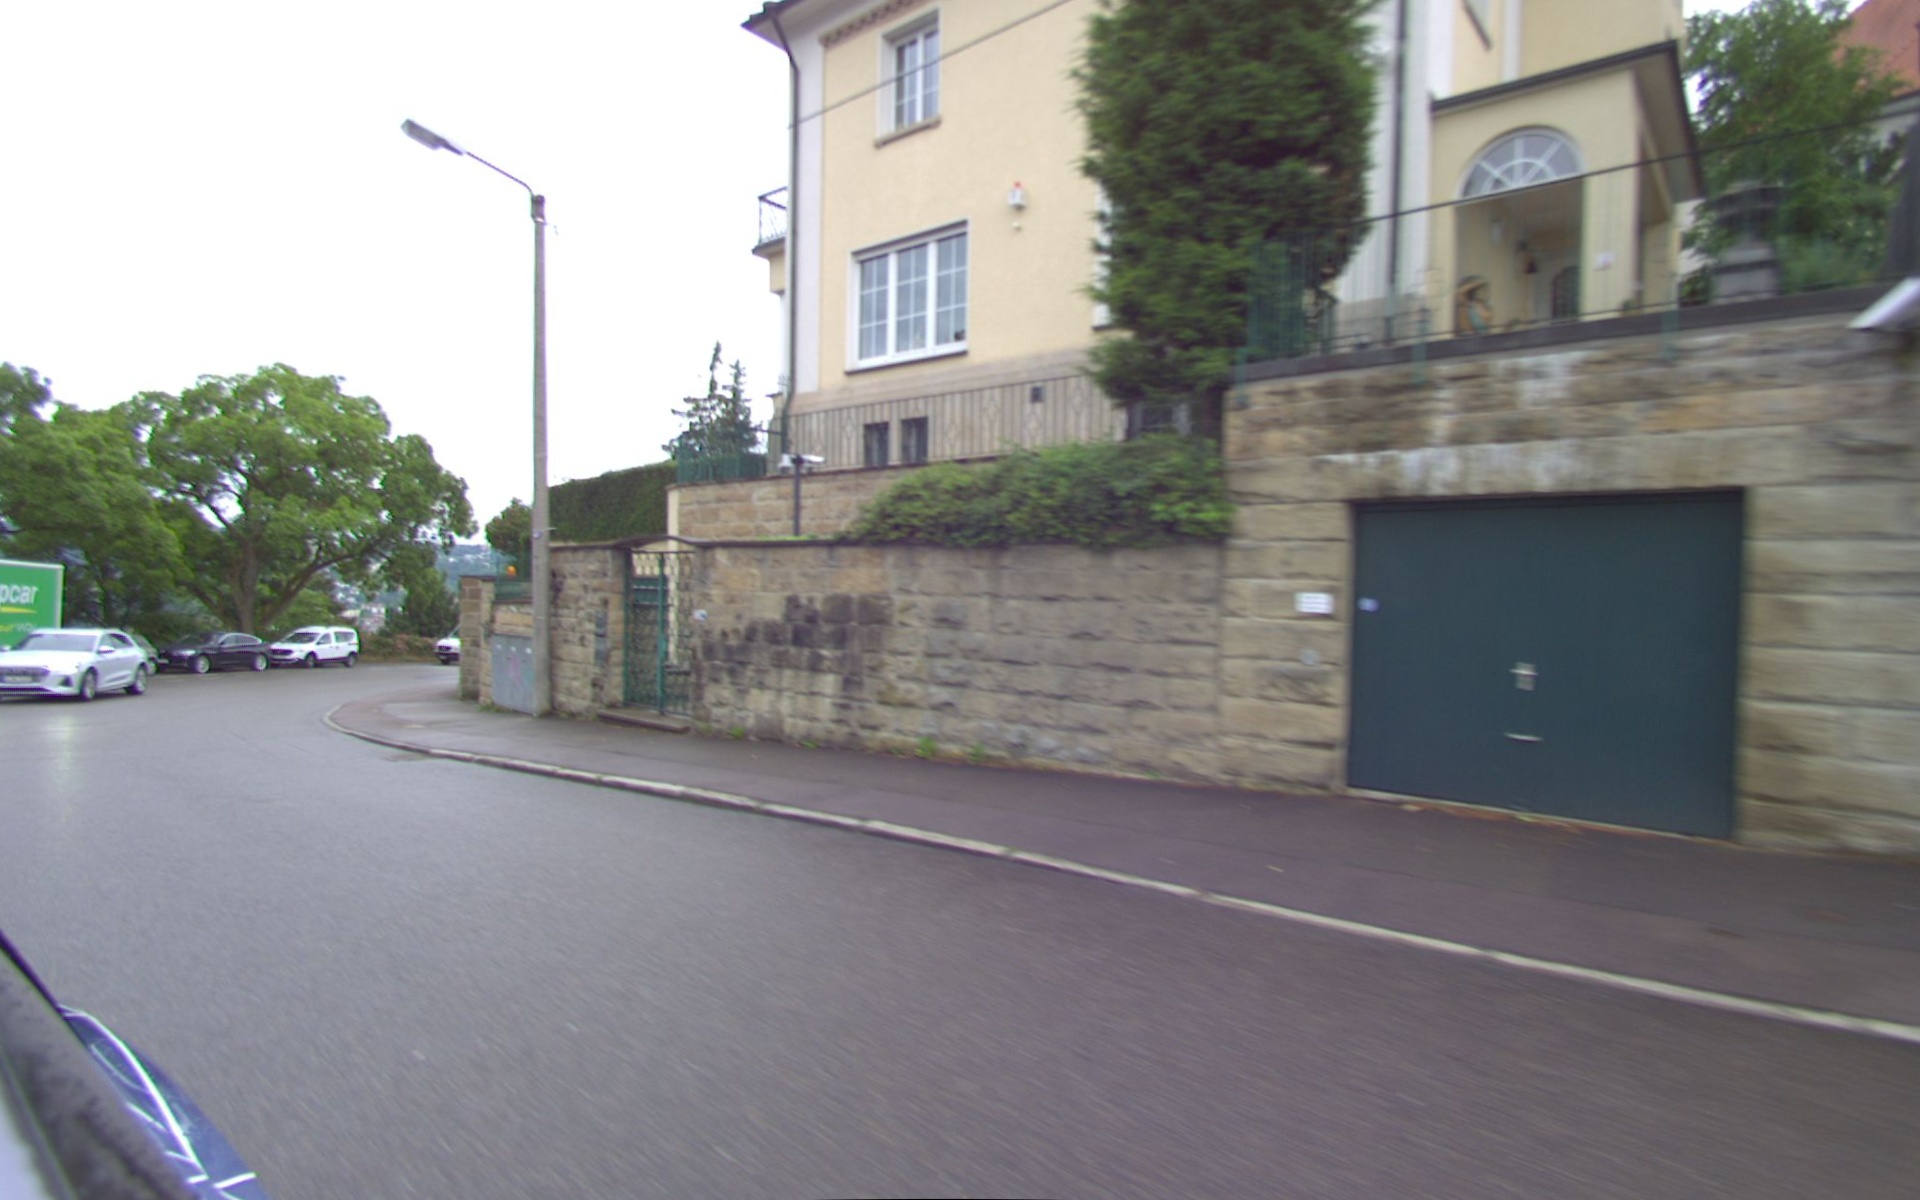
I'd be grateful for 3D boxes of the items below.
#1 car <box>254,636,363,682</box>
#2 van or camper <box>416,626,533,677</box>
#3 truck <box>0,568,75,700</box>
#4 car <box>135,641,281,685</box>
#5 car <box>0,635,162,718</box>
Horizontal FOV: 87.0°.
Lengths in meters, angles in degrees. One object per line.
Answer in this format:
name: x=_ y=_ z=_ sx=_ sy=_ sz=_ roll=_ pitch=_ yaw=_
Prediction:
car: x=-28.616 y=2.610 z=44.648 sx=1.729 sy=1.835 sz=4.420 roll=2 pitch=-4 yaw=2
van or camper: x=-26.288 y=2.792 z=55.043 sx=2.059 sy=2.600 sz=5.844 roll=0 pitch=-3 yaw=21
truck: x=-26.509 y=0.781 z=25.443 sx=2.735 sy=3.497 sz=8.959 roll=3 pitch=-4 yaw=-17
car: x=-28.766 y=2.433 z=38.945 sx=1.840 sy=1.554 sz=4.893 roll=1 pitch=-4 yaw=1
car: x=-20.921 y=1.713 z=23.543 sx=2.155 sy=1.721 sz=4.897 roll=3 pitch=-4 yaw=-20
